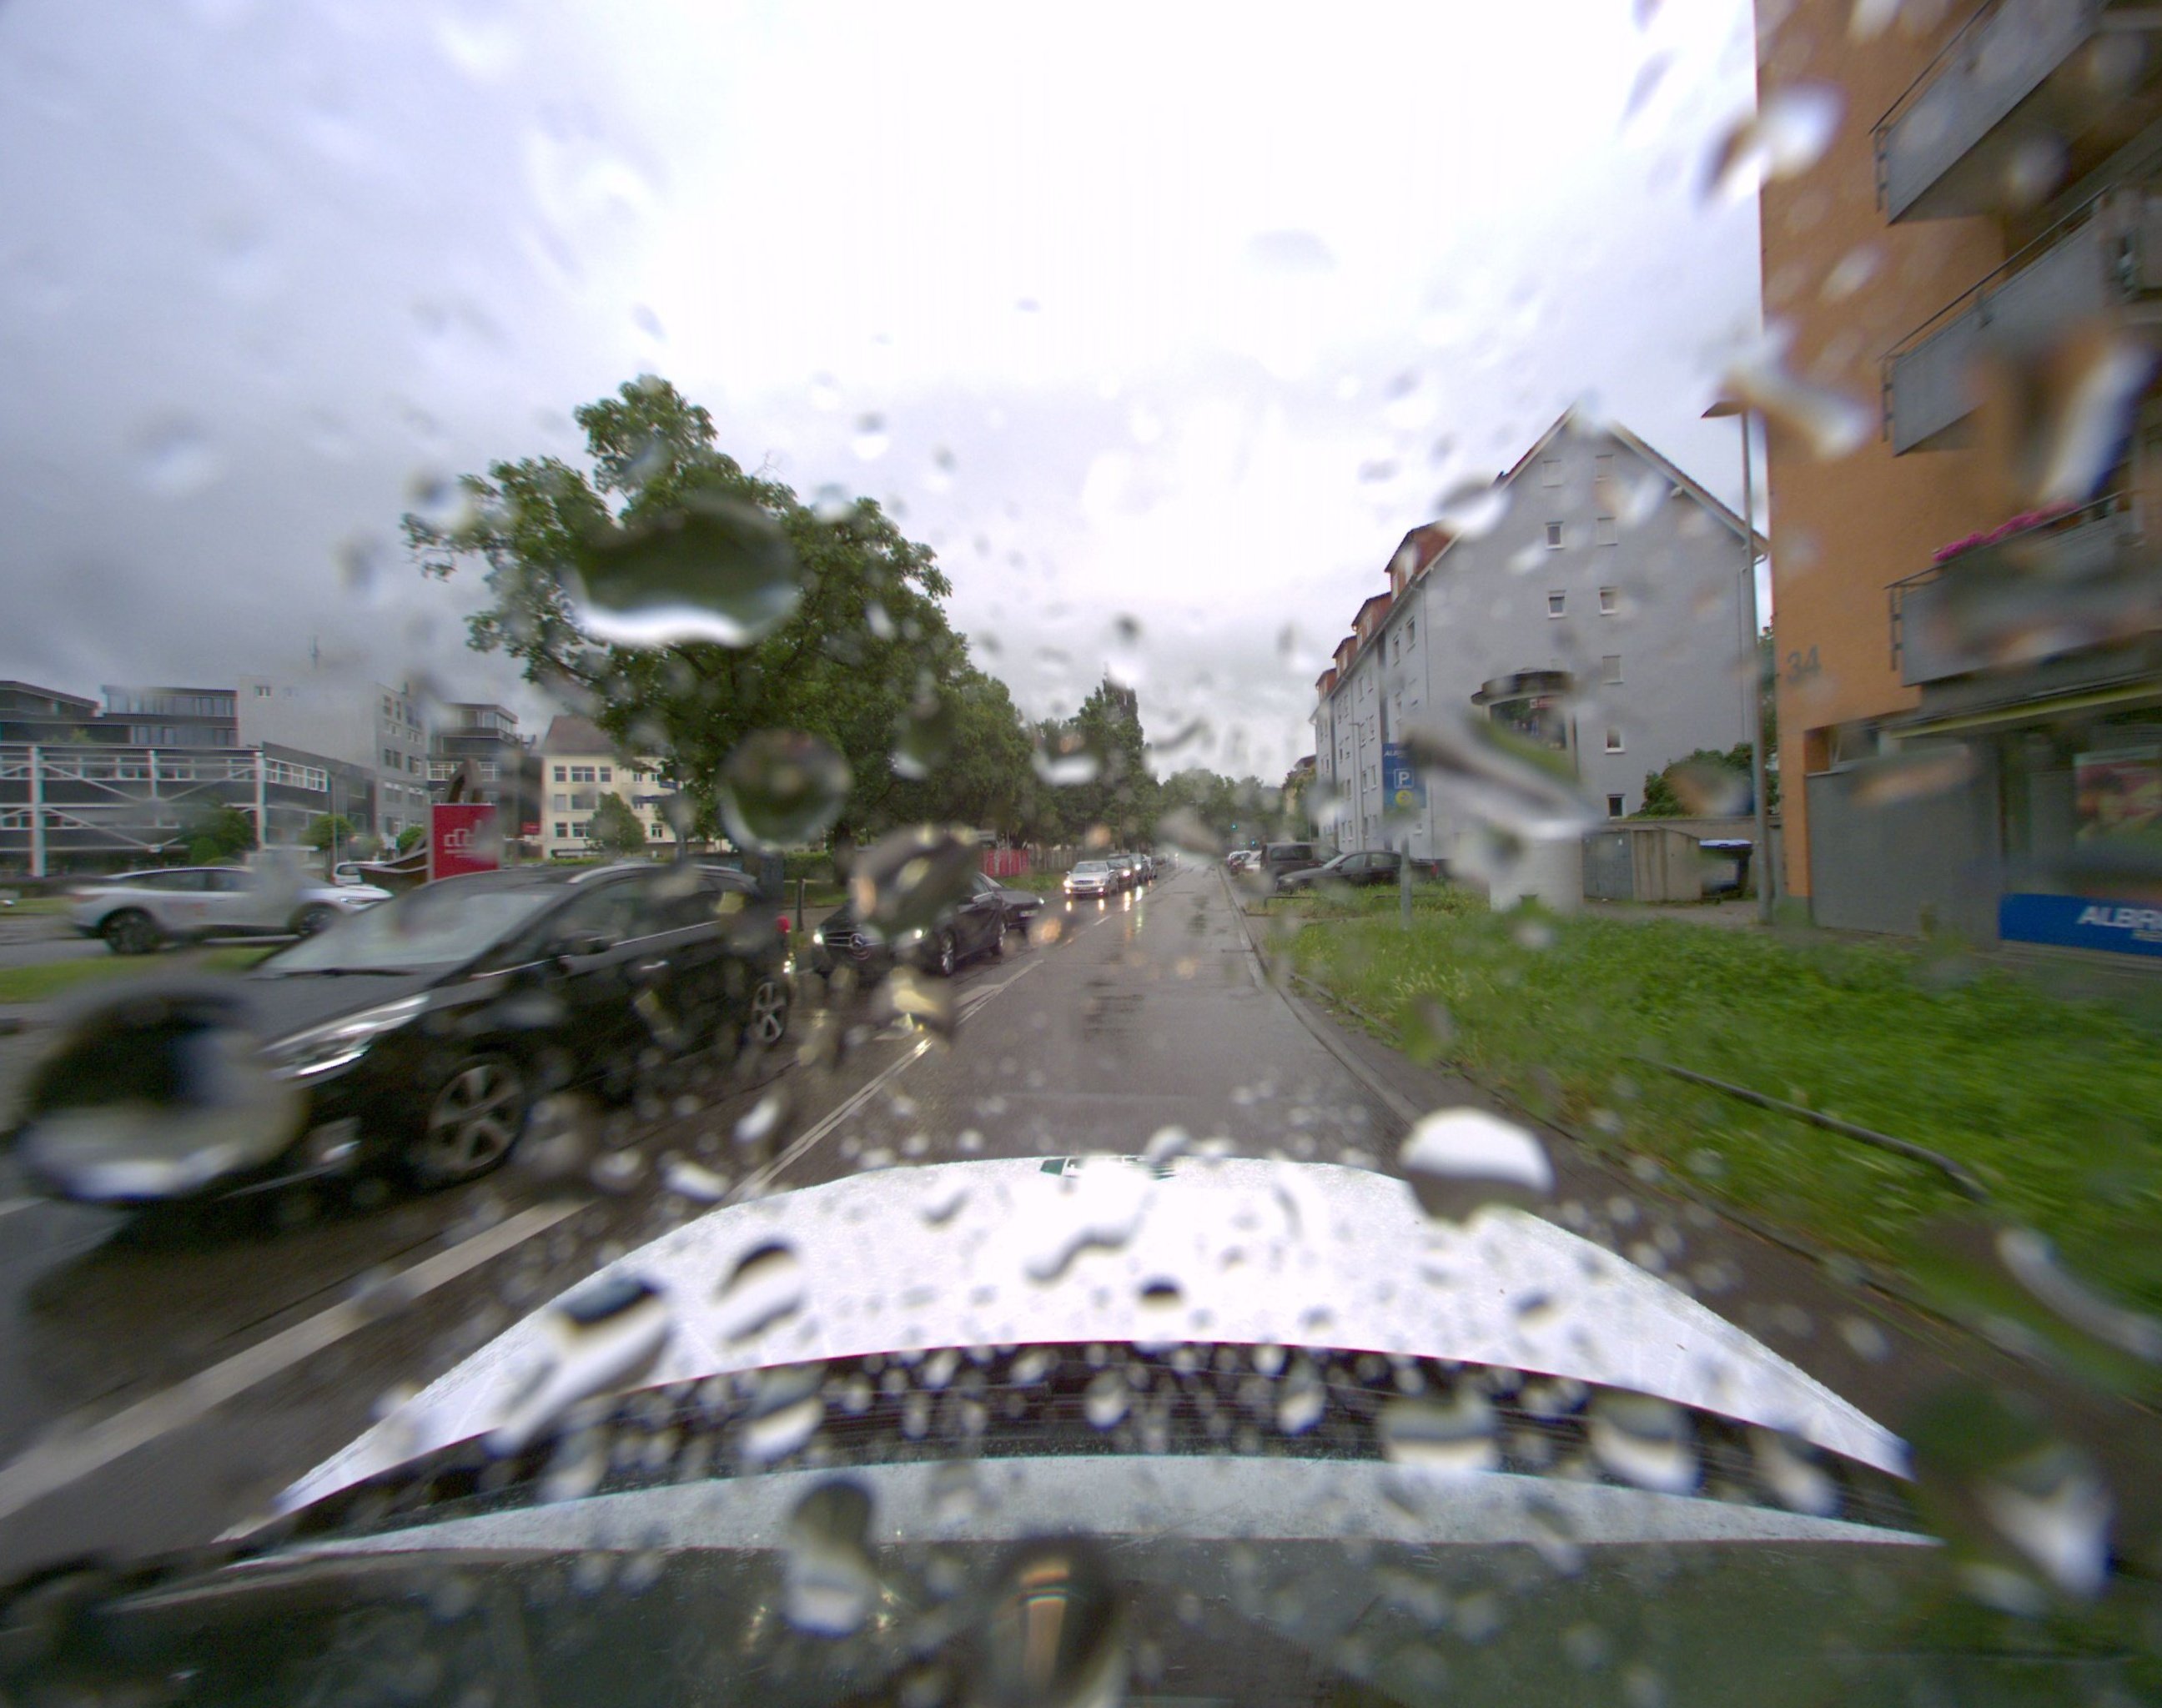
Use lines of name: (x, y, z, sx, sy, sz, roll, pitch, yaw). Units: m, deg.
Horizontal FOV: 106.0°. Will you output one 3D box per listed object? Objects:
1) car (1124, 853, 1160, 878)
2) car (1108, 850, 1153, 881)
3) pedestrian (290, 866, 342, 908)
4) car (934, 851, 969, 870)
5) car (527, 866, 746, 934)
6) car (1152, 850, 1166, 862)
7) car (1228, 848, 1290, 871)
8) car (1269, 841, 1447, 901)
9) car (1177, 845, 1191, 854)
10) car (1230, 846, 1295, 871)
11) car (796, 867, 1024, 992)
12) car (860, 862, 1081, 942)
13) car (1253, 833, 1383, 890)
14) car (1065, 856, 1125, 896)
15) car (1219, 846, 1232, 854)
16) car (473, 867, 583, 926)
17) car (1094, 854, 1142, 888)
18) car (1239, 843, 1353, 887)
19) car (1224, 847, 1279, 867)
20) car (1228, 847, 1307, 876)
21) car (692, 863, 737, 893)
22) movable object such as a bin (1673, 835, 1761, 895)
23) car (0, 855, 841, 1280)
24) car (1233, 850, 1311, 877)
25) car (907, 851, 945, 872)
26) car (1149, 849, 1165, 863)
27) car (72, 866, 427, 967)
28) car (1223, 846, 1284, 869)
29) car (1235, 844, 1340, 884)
car: (3.969, 0.711, 52.113, 1.661, 1.383, 4.267, -2, 0, 12)
car: (2.876, 0.631, 46.154, 1.902, 1.639, 4.836, -1, 0, 10)
pedestrian: (-35.538, 1.509, 37.856, 1.066, 1.840, 1.477, -2, 0, -10)
car: (-11.207, 0.586, 70.332, 1.855, 1.573, 3.965, -1, -1, -27)
car: (-10.333, 1.028, 19.360, 4.343, 1.395, 1.998, -1, 0, -22)
car: (11.352, 0.274, 118.141, 1.919, 1.484, 4.007, -3, 0, 6)
car: (12.090, 0.352, 55.489, 3.964, 1.442, 1.786, -1, 0, 8)
car: (7.809, 0.481, 23.376, 4.506, 1.470, 1.988, -3, 0, 9)
car: (23.359, -0.936, 184.511, 1.994, 2.013, 3.986, -2, 0, -10)
car: (11.763, 0.291, 52.892, 3.965, 1.552, 1.857, -1, 0, 7)
car: (-2.289, 0.976, 12.212, 1.715, 1.361, 4.351, -3, 0, 11)
car: (-2.559, 0.998, 17.978, 4.865, 1.454, 2.099, -2, 0, 41)
car: (8.583, 0.260, 29.795, 4.211, 1.805, 1.948, -3, 0, 5)
car: (0.633, 0.825, 32.255, 1.765, 1.403, 4.840, -1, 0, 7)
car: (28.260, -0.720, 159.209, 1.844, 1.524, 4.000, -2, 0, 0)
car: (-17.062, 1.242, 25.362, 1.790, 1.509, 4.270, -3, 1, -20)
car: (1.839, 0.759, 39.371, 1.768, 1.420, 4.276, -3, 0, 9)
car: (8.471, 0.438, 32.398, 4.167, 1.568, 1.893, -2, 0, 7)
car: (13.837, 0.232, 66.081, 4.238, 1.454, 1.992, -1, 1, 14)
car: (10.288, 0.404, 45.113, 4.119, 1.486, 2.017, -1, 0, 8)
car: (-20.995, 1.360, 46.781, 1.801, 1.583, 3.976, -2, 0, -18)
movable object such as a bin: (15.398, 0.252, 19.756, 1.192, 1.382, 1.221, -2, 0, 7)
car: (-3.678, 0.902, 5.645, 1.856, 1.619, 4.815, -2, -2, 10)
car: (9.943, 0.484, 42.590, 3.829, 1.207, 1.962, -2, 0, 10)
car: (-13.216, 0.647, 69.205, 2.006, 1.557, 3.961, -2, -1, -30)
car: (9.572, 0.247, 103.403, 1.768, 1.530, 4.003, -1, 2, 2)
car: (-16.822, 1.176, 16.852, 4.650, 1.706, 2.031, -2, 0, -21)
car: (12.926, 0.251, 61.186, 4.316, 1.552, 2.045, -1, 0, 8)
car: (8.809, 0.418, 34.996, 4.158, 1.571, 1.894, -1, 0, 7)
